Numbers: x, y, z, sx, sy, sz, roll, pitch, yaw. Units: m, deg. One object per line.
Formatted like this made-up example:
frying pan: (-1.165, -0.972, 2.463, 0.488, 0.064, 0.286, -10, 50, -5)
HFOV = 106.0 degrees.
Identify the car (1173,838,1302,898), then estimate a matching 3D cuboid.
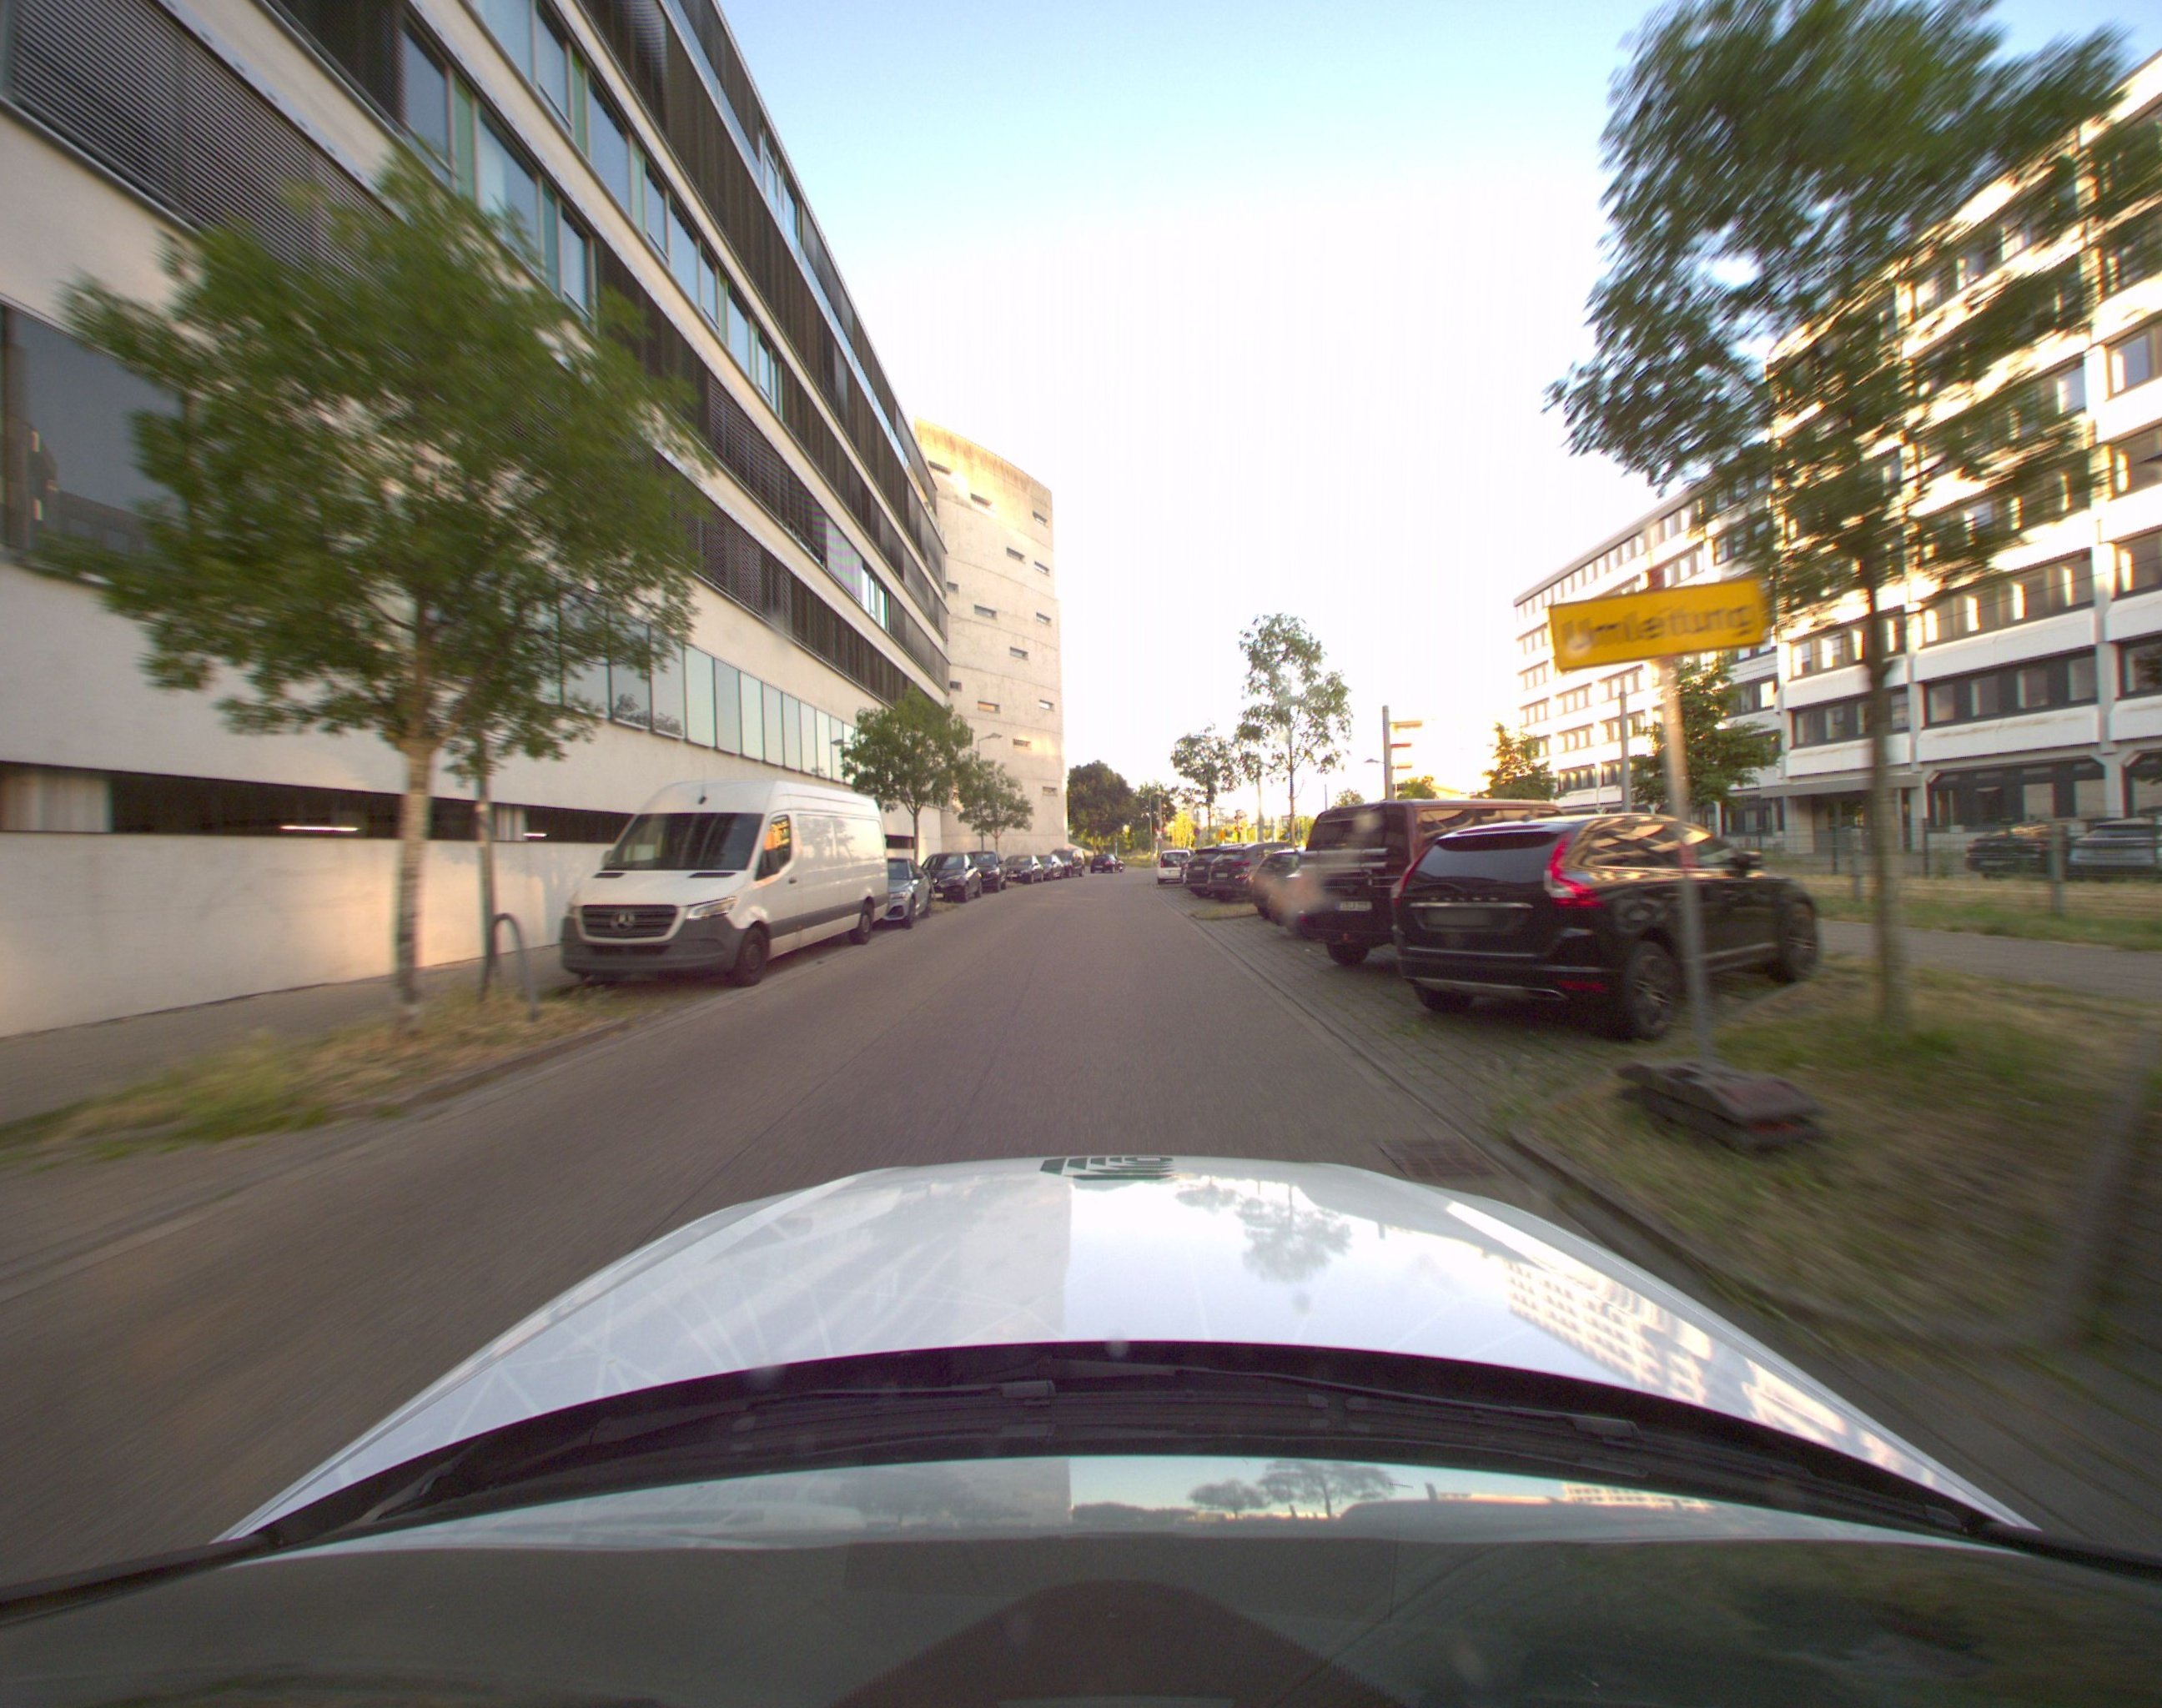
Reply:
car: (4.923, 0.382, 25.542, 3.791, 1.725, 1.746, -1, 1, -32)

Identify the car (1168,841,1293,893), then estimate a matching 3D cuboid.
car: (5.280, 0.425, 28.695, 3.944, 1.509, 1.938, -4, 1, -29)

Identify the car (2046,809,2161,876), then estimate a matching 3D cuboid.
car: (24.032, -0.241, 17.829, 3.974, 1.398, 1.591, 0, 0, -1)

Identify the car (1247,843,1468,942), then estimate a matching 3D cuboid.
car: (4.762, 0.550, 13.841, 3.794, 1.465, 1.621, -1, 1, -35)

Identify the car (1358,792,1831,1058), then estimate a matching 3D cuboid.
car: (4.790, 0.431, 7.382, 4.620, 1.749, 1.852, -1, 1, -33)

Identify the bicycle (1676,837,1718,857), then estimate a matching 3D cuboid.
bicycle: (38.190, -0.457, 50.522, 0.825, 1.200, 2.433, 1, 0, 2)

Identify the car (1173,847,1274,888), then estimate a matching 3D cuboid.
car: (5.629, 0.489, 32.134, 3.766, 1.509, 1.671, -1, 1, -31)

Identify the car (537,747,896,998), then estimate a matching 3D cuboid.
car: (-4.593, 0.155, 11.948, 1.951, 2.617, 6.896, 0, 1, 2)

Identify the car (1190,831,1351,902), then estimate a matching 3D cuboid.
car: (5.309, 0.330, 22.798, 3.995, 1.640, 1.956, -4, 0, -27)

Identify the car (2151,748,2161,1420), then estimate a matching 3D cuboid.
car: (4.719, 0.550, 2.221, 4.012, 1.595, 1.720, 0, -1, -31)

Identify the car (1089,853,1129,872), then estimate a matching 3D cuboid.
car: (2.168, 0.612, 62.233, 1.928, 1.382, 4.419, 0, 1, 18)

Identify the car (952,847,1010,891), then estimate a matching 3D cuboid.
car: (-3.944, 0.545, 32.683, 1.750, 1.653, 3.949, 0, 1, 1)

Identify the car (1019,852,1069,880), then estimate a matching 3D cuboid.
car: (-2.069, 0.631, 46.781, 1.711, 1.457, 4.709, 0, 1, 12)

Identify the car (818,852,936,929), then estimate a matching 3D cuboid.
car: (-4.289, 0.695, 17.715, 1.752, 1.439, 3.897, 0, 1, -3)

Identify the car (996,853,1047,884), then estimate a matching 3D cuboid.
car: (-2.973, 0.675, 41.681, 1.713, 1.457, 4.281, 0, 1, 8)

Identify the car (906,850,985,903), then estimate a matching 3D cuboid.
car: (-4.302, 0.651, 26.409, 1.749, 1.561, 4.045, 0, 1, 2)

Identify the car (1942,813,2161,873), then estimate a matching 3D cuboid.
car: (24.149, -0.262, 20.185, 3.974, 1.398, 1.591, 0, 0, -1)

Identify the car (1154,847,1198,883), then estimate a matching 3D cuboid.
car: (4.349, 0.453, 36.972, 1.712, 1.467, 3.562, -3, 0, 9)

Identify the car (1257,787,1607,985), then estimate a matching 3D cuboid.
car: (4.588, 0.300, 10.405, 4.620, 2.035, 1.852, -1, 1, -33)

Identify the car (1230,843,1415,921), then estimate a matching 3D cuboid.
car: (5.126, 0.510, 17.123, 3.794, 1.442, 1.745, -1, 1, -35)

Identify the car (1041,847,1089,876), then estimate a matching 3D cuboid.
car: (-0.946, 0.438, 51.866, 1.743, 1.798, 4.483, 0, 1, 17)
